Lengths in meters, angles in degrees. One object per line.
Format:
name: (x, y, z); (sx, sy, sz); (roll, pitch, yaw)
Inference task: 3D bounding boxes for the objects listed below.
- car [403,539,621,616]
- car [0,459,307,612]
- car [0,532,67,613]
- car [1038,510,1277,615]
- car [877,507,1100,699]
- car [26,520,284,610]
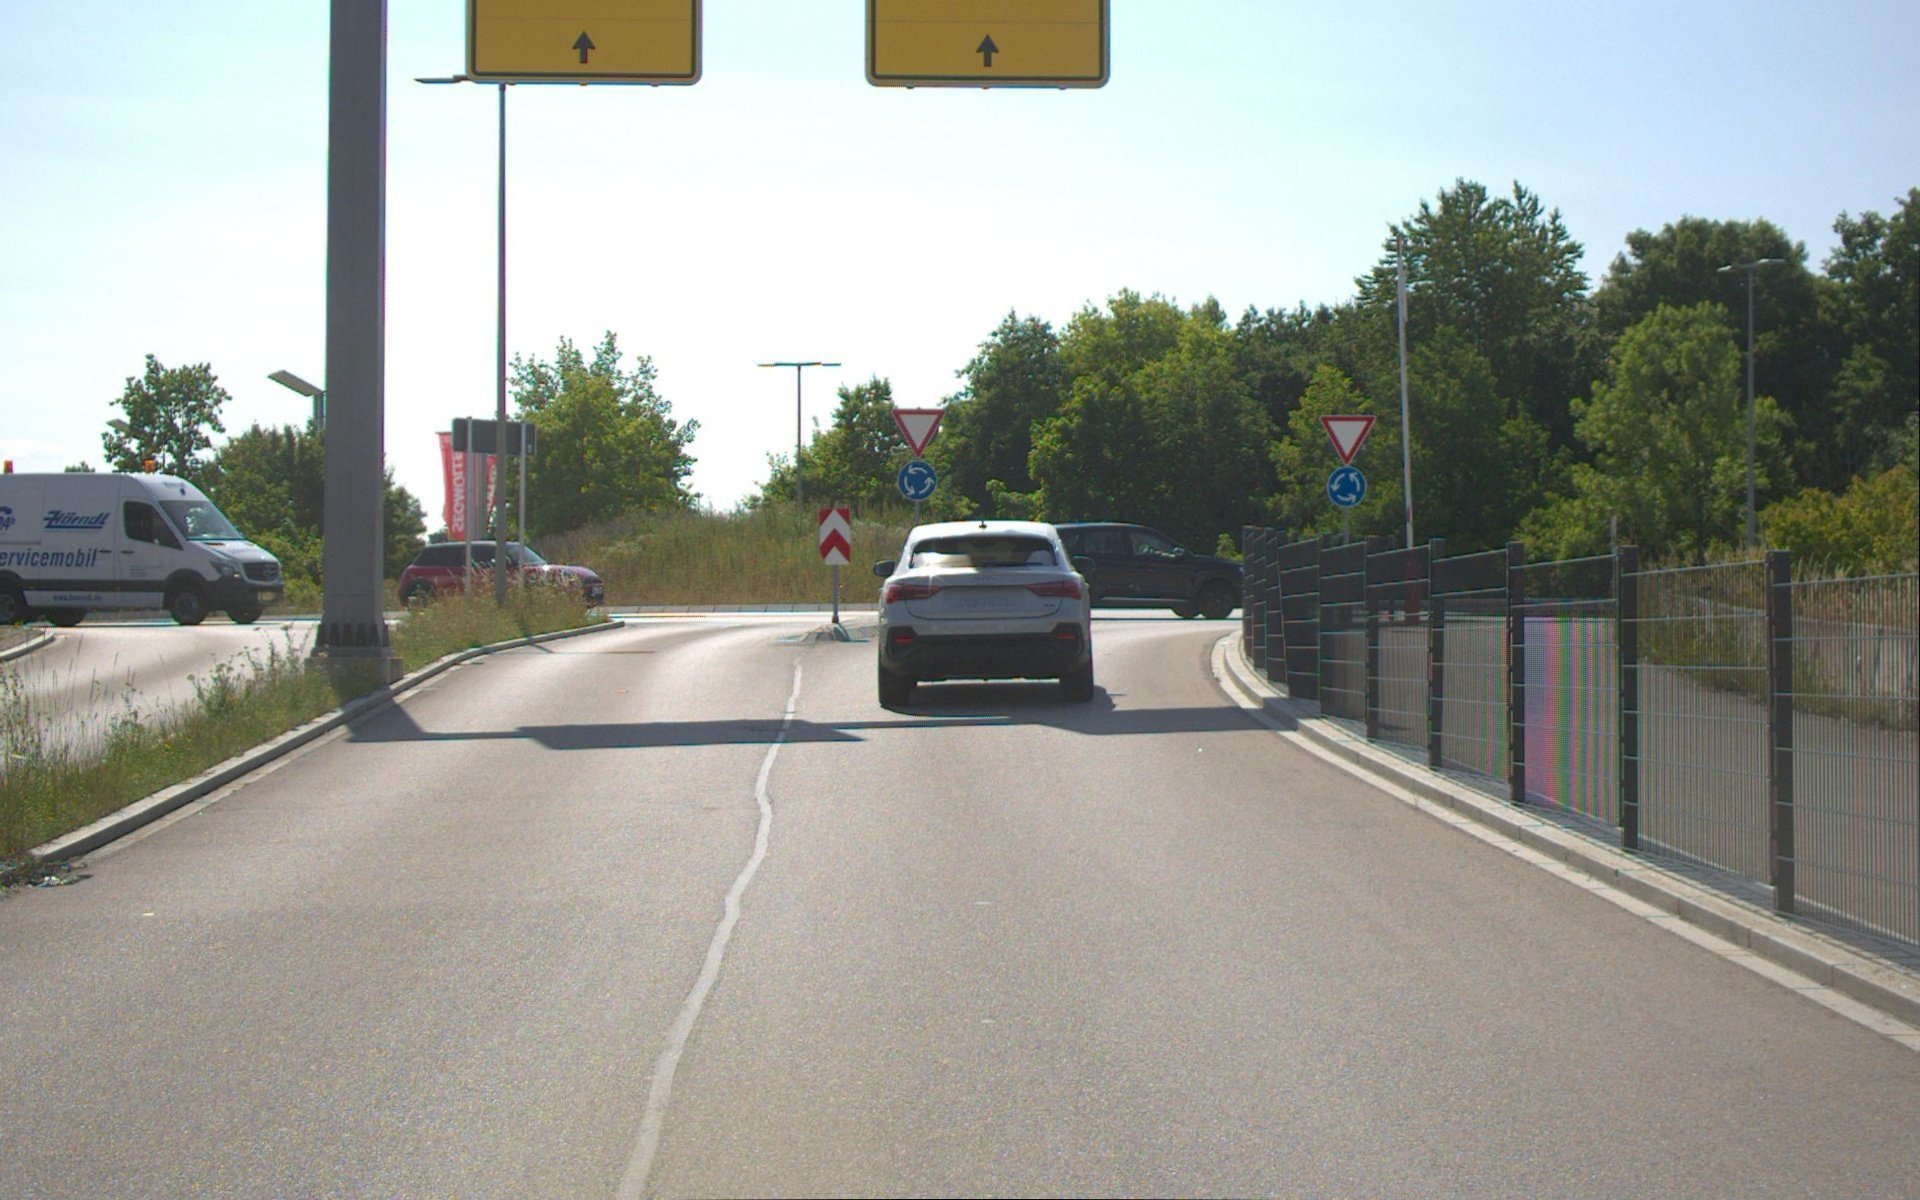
car: (-8.501, -0.429, 65.362); (3.806, 1.400, 1.626); (1, 0, 7)
car: (-14.499, -1.122, 59.322); (6.180, 2.545, 2.088); (1, 0, 22)
car: (-20.354, -0.591, 70.059); (3.725, 1.612, 1.872); (1, 1, 13)
car: (3.337, -0.635, 58.711); (3.844, 1.711, 2.000); (1, 0, -3)
car: (0.205, 0.000, 30.588); (1.841, 1.590, 4.325); (0, 1, -1)
car: (-20.761, -0.888, 88.885); (6.256, 2.226, 2.039); (0, 1, -41)
